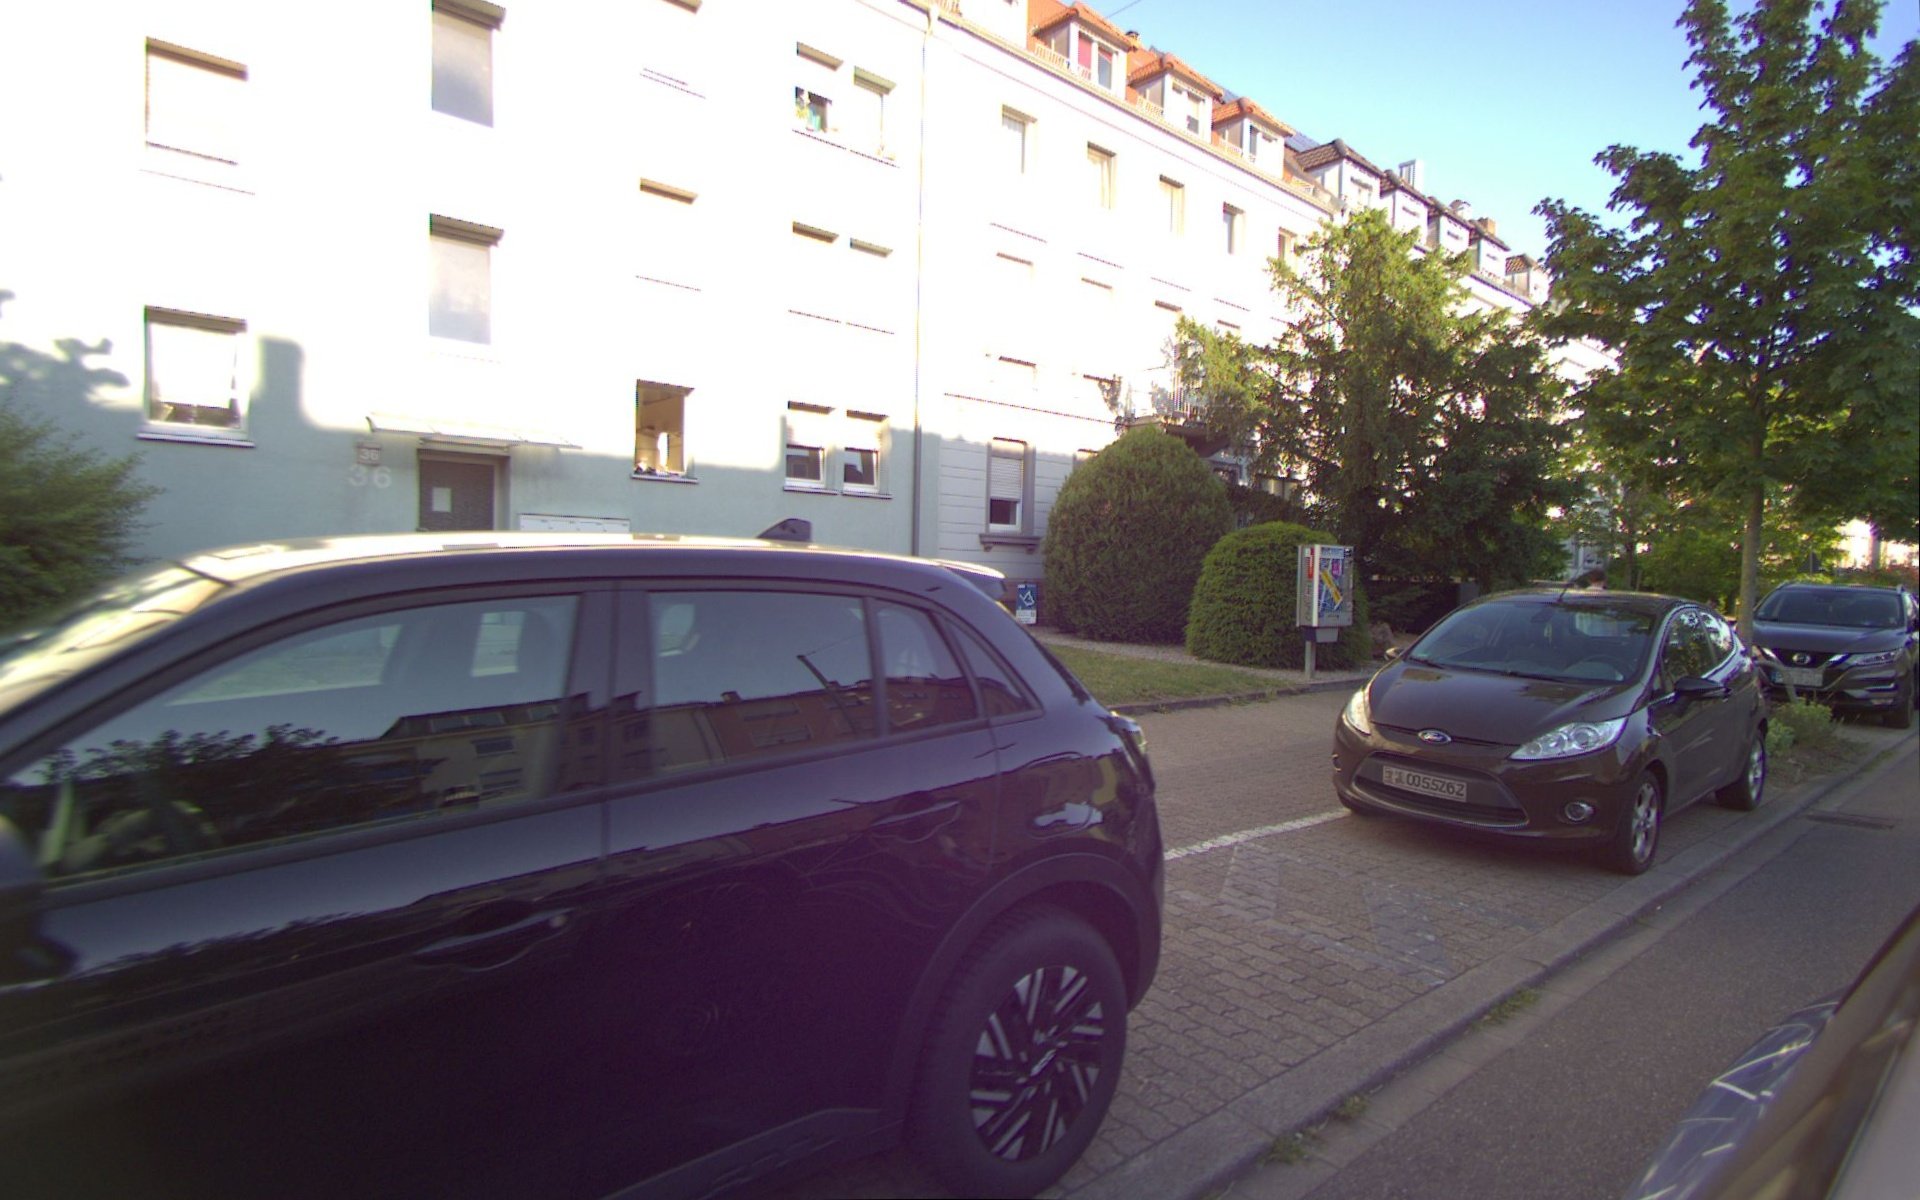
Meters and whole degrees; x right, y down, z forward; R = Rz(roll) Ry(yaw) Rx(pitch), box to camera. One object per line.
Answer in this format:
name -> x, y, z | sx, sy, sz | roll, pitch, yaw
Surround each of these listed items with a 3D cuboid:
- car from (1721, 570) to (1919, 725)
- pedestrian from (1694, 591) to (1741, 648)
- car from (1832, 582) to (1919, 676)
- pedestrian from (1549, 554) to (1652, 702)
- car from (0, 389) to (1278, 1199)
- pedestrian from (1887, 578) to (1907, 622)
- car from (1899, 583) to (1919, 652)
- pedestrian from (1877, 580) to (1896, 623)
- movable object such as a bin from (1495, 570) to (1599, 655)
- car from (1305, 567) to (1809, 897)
car -> 11.220, 0.484, 12.790 | 4.024, 1.621, 1.722 | 0, 2, -41
pedestrian -> 17.172, 0.423, 22.951 | 0.776, 1.250, 0.674 | 0, 2, -40
car -> 17.213, 0.478, 18.200 | 4.318, 1.512, 1.721 | 0, 3, -42
pedestrian -> 7.793, 0.310, 12.329 | 0.792, 1.721, 0.791 | 0, 2, -36
car -> -1.357, 0.547, 2.082 | 4.175, 1.683, 1.759 | 0, 3, -39
pedestrian -> 36.961, -0.016, 39.939 | 0.518, 1.718, 0.511 | 0, 2, -45
car -> 24.676, 0.461, 24.692 | 4.733, 1.600, 1.880 | 0, 4, -39
pedestrian -> 37.558, 0.067, 41.014 | 0.518, 1.718, 0.511 | 0, 2, -45
movable object such as a bin -> 11.384, 0.216, 19.641 | 1.116, 1.510, 1.273 | 1, 4, -30
car -> 4.049, 0.591, 6.598 | 3.889, 1.484, 1.616 | 0, 3, -41
